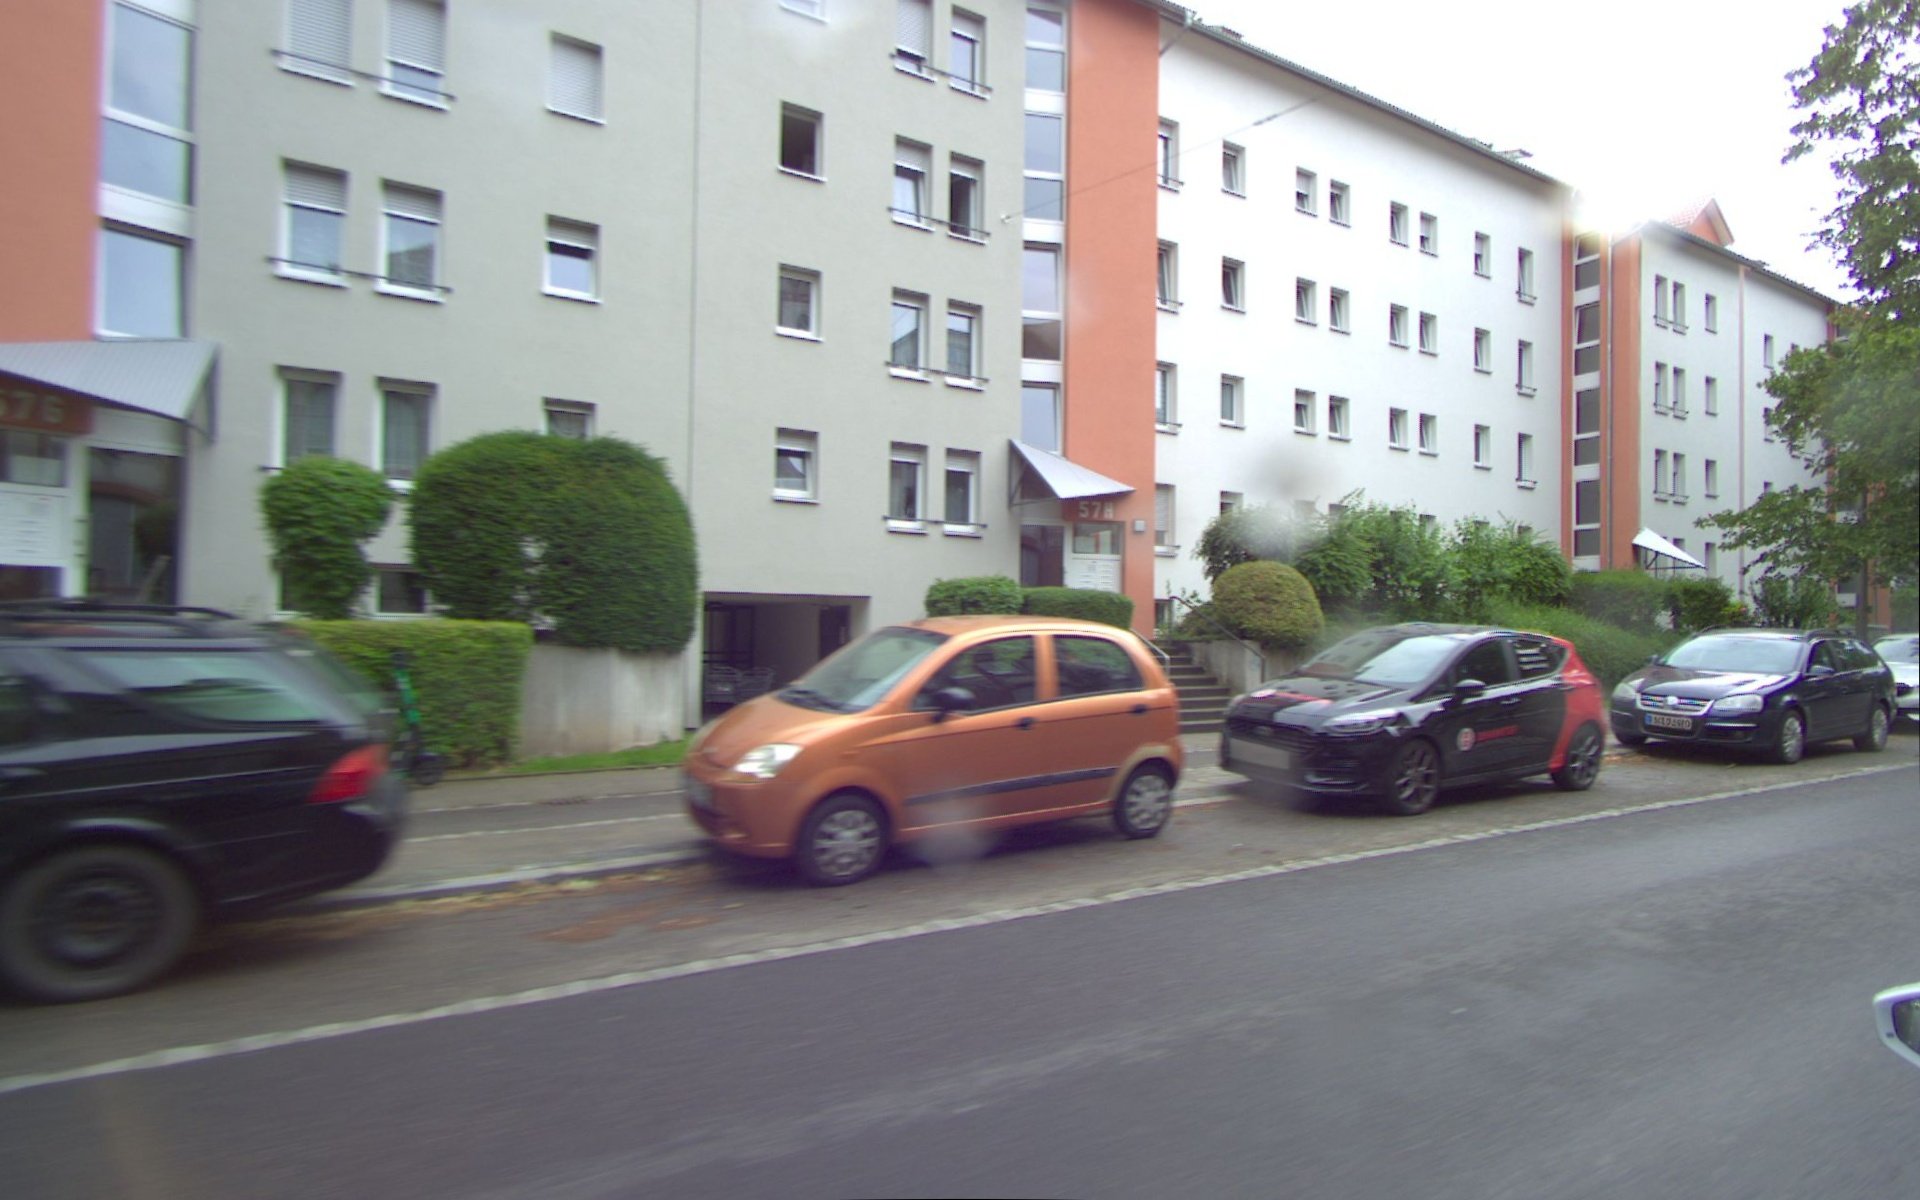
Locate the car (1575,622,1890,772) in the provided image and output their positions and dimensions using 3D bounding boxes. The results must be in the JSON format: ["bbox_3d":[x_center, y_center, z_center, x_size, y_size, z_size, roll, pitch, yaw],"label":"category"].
[{"bbox_3d":[9.347,1.050,12.062,4.188,1.487,1.707,1,-1,-33],"label":"car"}]

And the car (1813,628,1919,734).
[{"bbox_3d":[15.457,1.229,15.852,4.258,1.487,1.709,1,-1,-30],"label":"car"}]

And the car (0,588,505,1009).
[{"bbox_3d":[-4.525,0.707,4.005,4.751,1.529,1.707,1,-1,-32],"label":"car"}]

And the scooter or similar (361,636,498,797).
[{"bbox_3d":[-4.959,1.039,9.385,1.018,1.387,0.773,2,-1,-36],"label":"scooter or similar"}]

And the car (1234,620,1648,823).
[{"bbox_3d":[4.473,0.966,9.231,3.714,1.487,1.707,1,-1,-32],"label":"car"}]

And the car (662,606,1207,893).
[{"bbox_3d":[-0.109,0.819,6.782,3.359,1.487,1.547,1,-1,-32],"label":"car"}]

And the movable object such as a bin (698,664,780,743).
[{"bbox_3d":[-3.342,1.535,15.169,0.921,1.090,0.854,1,-1,-37],"label":"movable object such as a bin"}]
